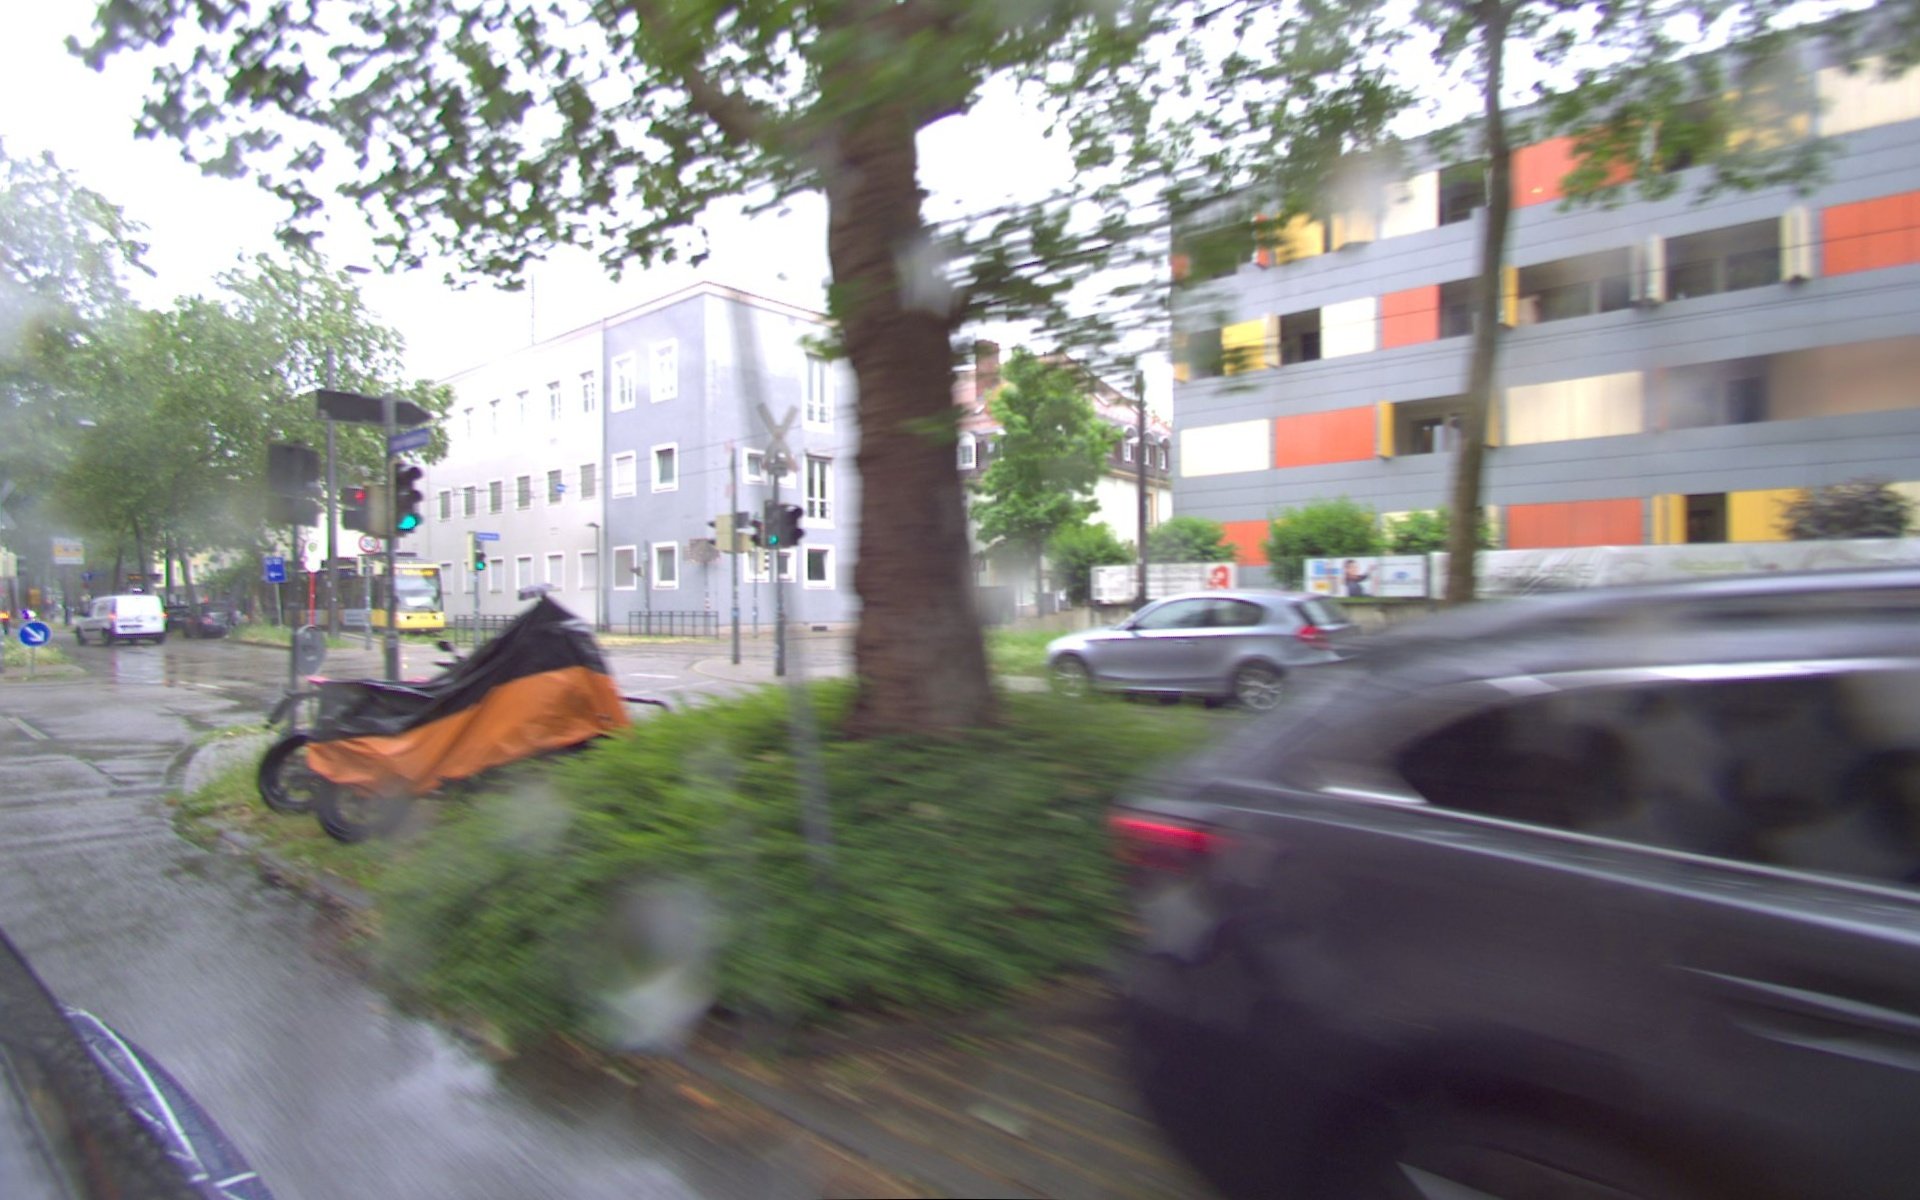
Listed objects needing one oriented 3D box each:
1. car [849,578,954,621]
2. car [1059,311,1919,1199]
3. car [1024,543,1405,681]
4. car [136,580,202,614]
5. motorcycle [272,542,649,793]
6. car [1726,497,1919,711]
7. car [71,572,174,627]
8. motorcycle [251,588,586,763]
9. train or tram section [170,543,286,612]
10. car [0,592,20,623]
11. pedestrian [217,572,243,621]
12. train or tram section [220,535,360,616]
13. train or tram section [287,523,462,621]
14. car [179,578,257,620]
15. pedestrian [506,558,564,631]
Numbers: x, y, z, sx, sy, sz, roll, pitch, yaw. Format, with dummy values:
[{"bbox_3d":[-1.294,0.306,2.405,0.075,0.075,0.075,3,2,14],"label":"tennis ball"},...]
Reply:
[{"bbox_3d":[-2.225,-0.051,39.437,1.886,1.539,4.039,0,1,38],"label":"car"},{"bbox_3d":[2.558,0.364,1.203,4.619,1.496,1.877,0,2,41],"label":"car"},{"bbox_3d":[3.127,0.106,13.020,4.387,1.474,1.884,0,1,42],"label":"car"},{"bbox_3d":[-37.012,-0.128,47.345,3.703,1.394,1.656,0,5,41],"label":"car"},{"bbox_3d":[-3.230,0.402,6.735,2.077,1.511,0.773,-1,2,-6],"label":"motorcycle"},{"bbox_3d":[8.647,0.000,7.632,4.465,1.612,1.884,0,1,41],"label":"car"},{"bbox_3d":[-30.563,-0.028,36.926,4.058,1.863,1.915,0,1,36],"label":"car"},{"bbox_3d":[-4.140,0.549,7.902,2.110,1.218,0.870,-1,2,-4],"label":"motorcycle"},{"bbox_3d":[-42.356,-1.286,58.336,11.548,3.669,2.869,0,2,42],"label":"train or tram section"},{"bbox_3d":[-53.764,0.421,55.771,4.665,1.631,2.037,0,1,37],"label":"car"},{"bbox_3d":[-28.096,-0.130,38.939,0.635,1.869,0.654,0,1,42],"label":"pedestrian"},{"bbox_3d":[-33.731,-1.214,50.678,11.548,3.669,2.869,0,2,42],"label":"train or tram section"},{"bbox_3d":[-25.117,-1.142,43.006,11.548,3.669,2.869,0,2,42],"label":"train or tram section"},{"bbox_3d":[-30.775,-0.048,41.928,3.972,1.520,1.656,0,5,41],"label":"car"},{"bbox_3d":[-10.952,-0.157,26.086,1.205,1.813,0.926,1,1,41],"label":"pedestrian"}]
